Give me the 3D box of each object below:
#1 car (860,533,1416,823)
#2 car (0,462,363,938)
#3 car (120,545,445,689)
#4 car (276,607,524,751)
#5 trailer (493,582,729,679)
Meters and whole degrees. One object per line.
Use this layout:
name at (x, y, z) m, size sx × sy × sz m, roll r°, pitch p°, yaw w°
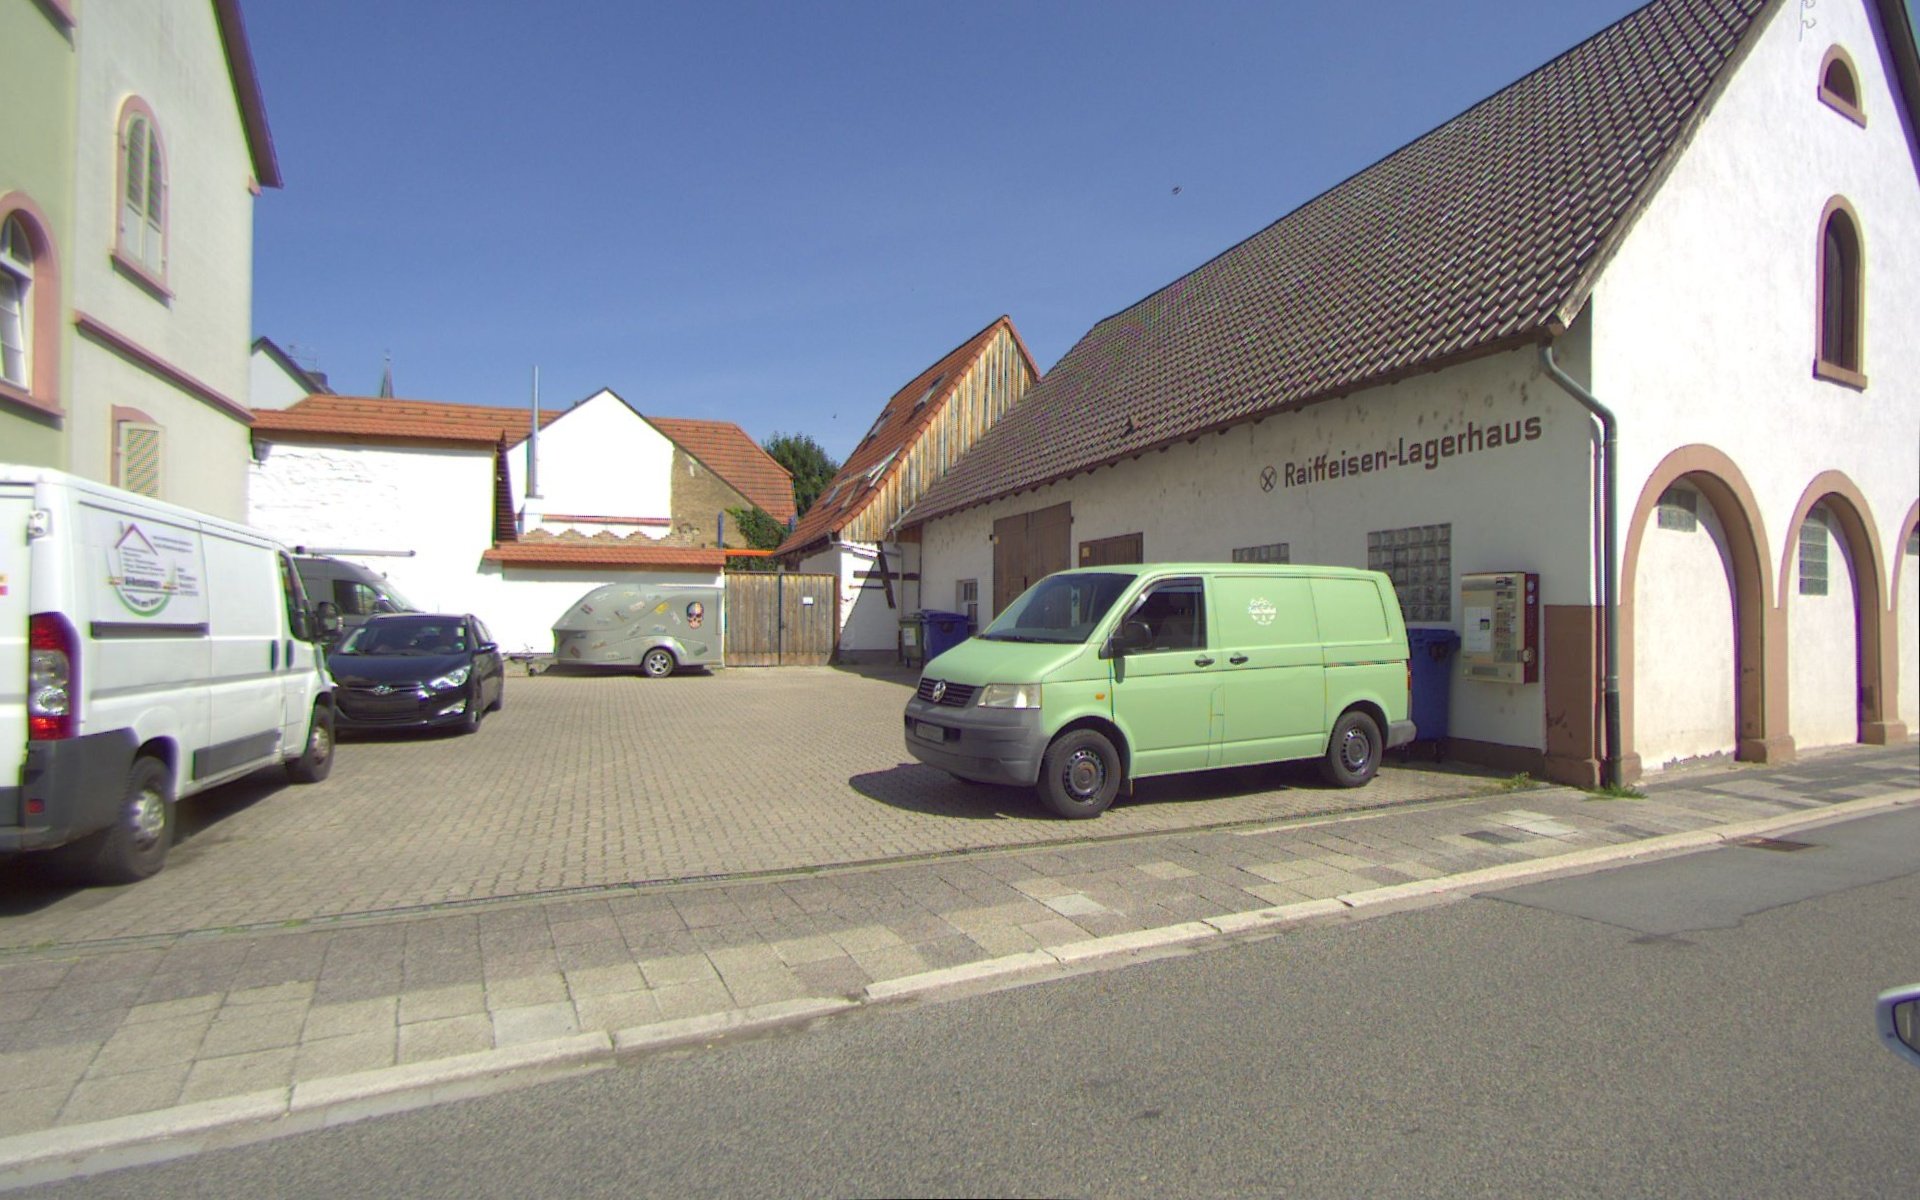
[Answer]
car at (1.625, 0.571, 8.857) m, size 4.610 × 1.990 × 1.986 m, roll 1°, pitch -1°, yaw -28°
car at (-5.972, 0.497, 6.914) m, size 2.089 × 2.226 × 5.172 m, roll 0°, pitch -1°, yaw -18°
car at (-13.670, 0.352, 20.694) m, size 5.149 × 2.709 × 1.992 m, roll 0°, pitch -1°, yaw -19°
car at (-7.149, 0.887, 13.345) m, size 1.878 × 1.486 × 4.350 m, roll 0°, pitch 1°, yaw -15°
trailer at (-7.802, 0.677, 22.765) m, size 4.821 × 2.040 × 1.991 m, roll 0°, pitch -1°, yaw -20°
